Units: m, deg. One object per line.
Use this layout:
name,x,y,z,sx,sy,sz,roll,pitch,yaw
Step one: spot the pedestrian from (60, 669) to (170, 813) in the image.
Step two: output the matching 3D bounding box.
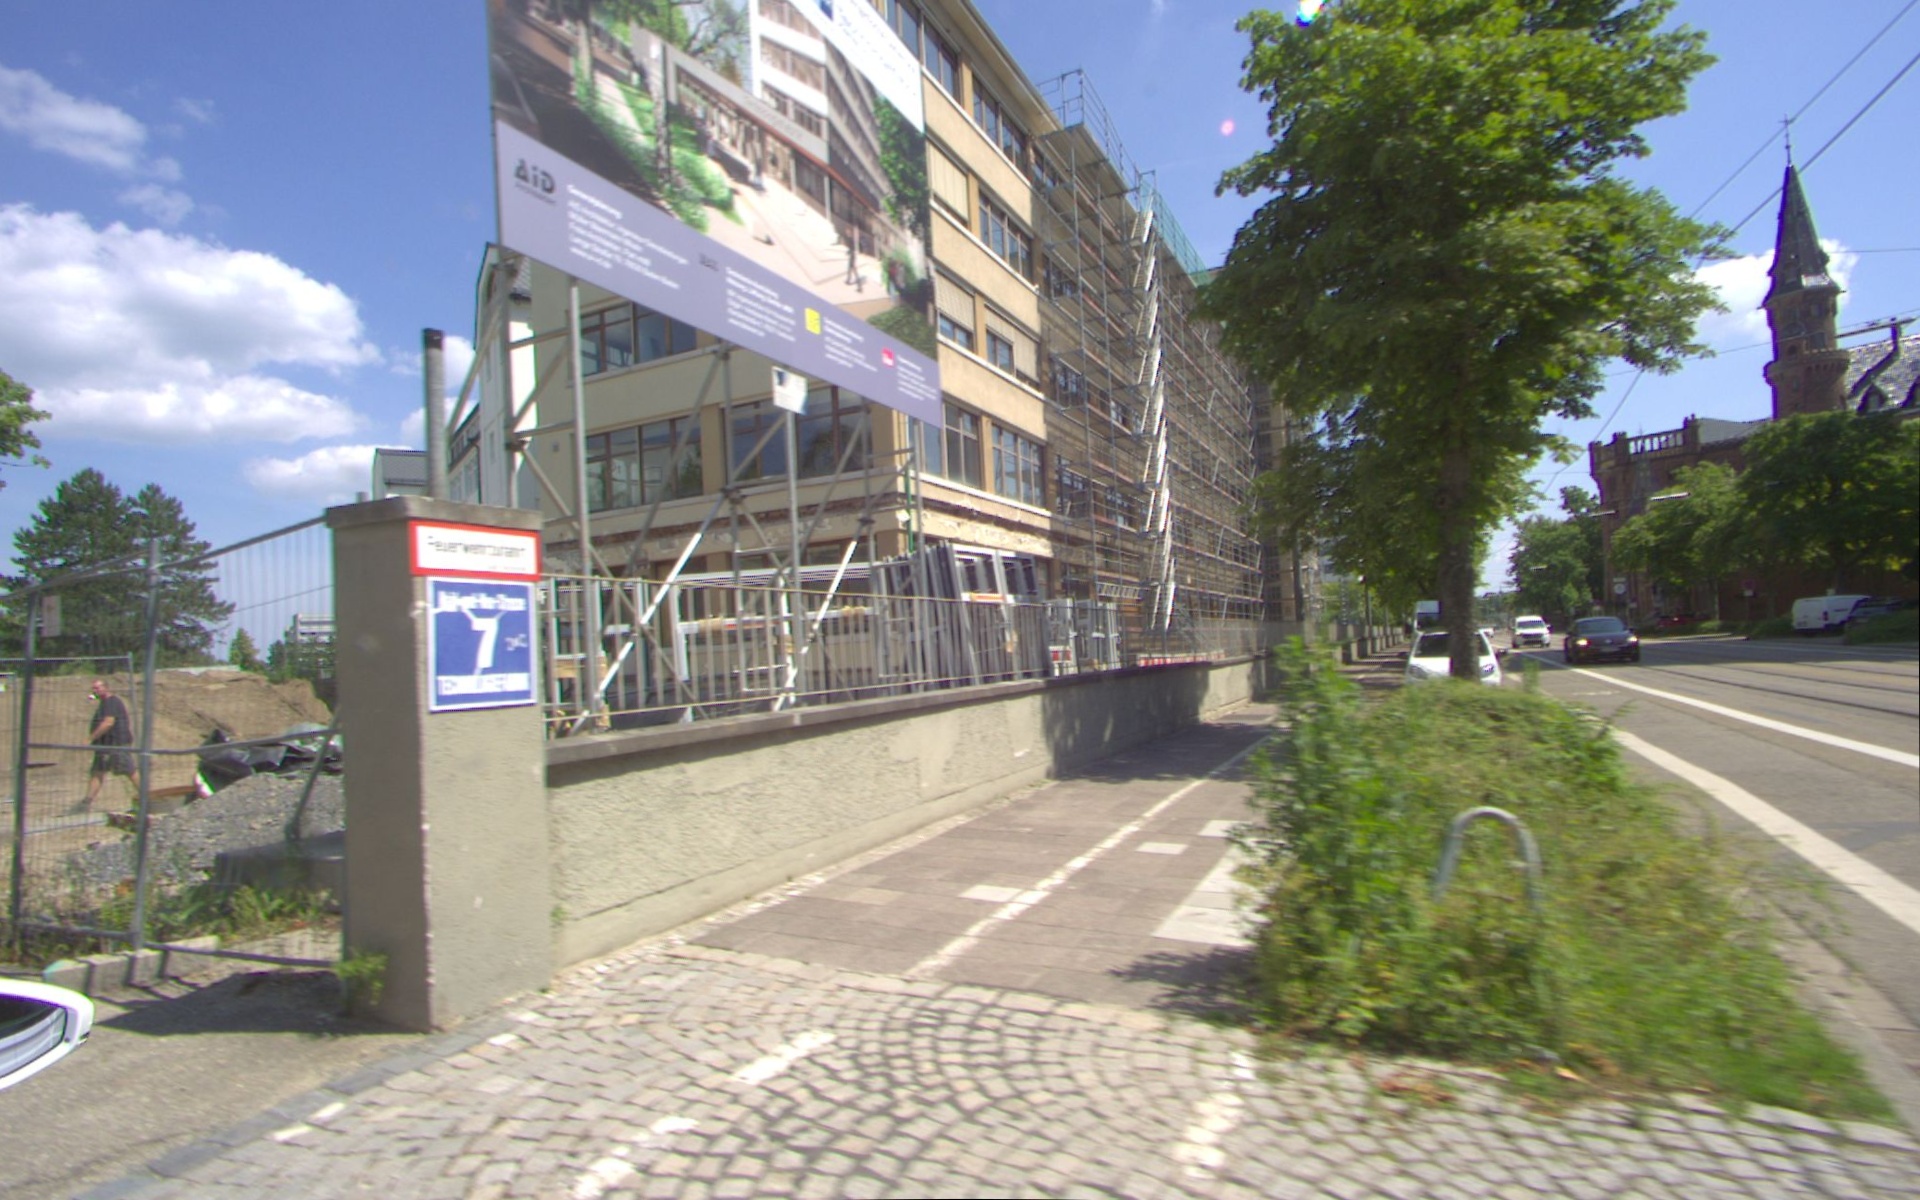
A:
pedestrian,-11.625,1.902,13.787,0.859,1.842,0.962,-4,-3,35

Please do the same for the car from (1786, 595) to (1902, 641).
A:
car,39.591,0.811,44.888,3.925,1.816,1.835,-2,-2,-12

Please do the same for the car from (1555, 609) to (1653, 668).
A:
car,21.073,1.255,32.946,1.968,1.709,3.990,-5,-3,23

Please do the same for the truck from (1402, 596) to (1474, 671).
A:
truck,17.883,1.273,37.700,1.993,2.516,5.859,-4,-3,23

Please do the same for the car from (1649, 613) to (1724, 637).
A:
car,53.649,1.856,74.004,3.923,1.504,2.001,-3,-2,4

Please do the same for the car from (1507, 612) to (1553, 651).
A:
car,32.458,1.800,57.087,1.969,2.038,3.986,-4,-3,26

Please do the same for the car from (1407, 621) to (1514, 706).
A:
car,9.771,1.179,19.429,1.599,1.457,3.568,-4,-3,29

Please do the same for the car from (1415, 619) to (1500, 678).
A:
car,15.013,1.455,30.417,1.967,1.627,3.991,-3,-3,22
